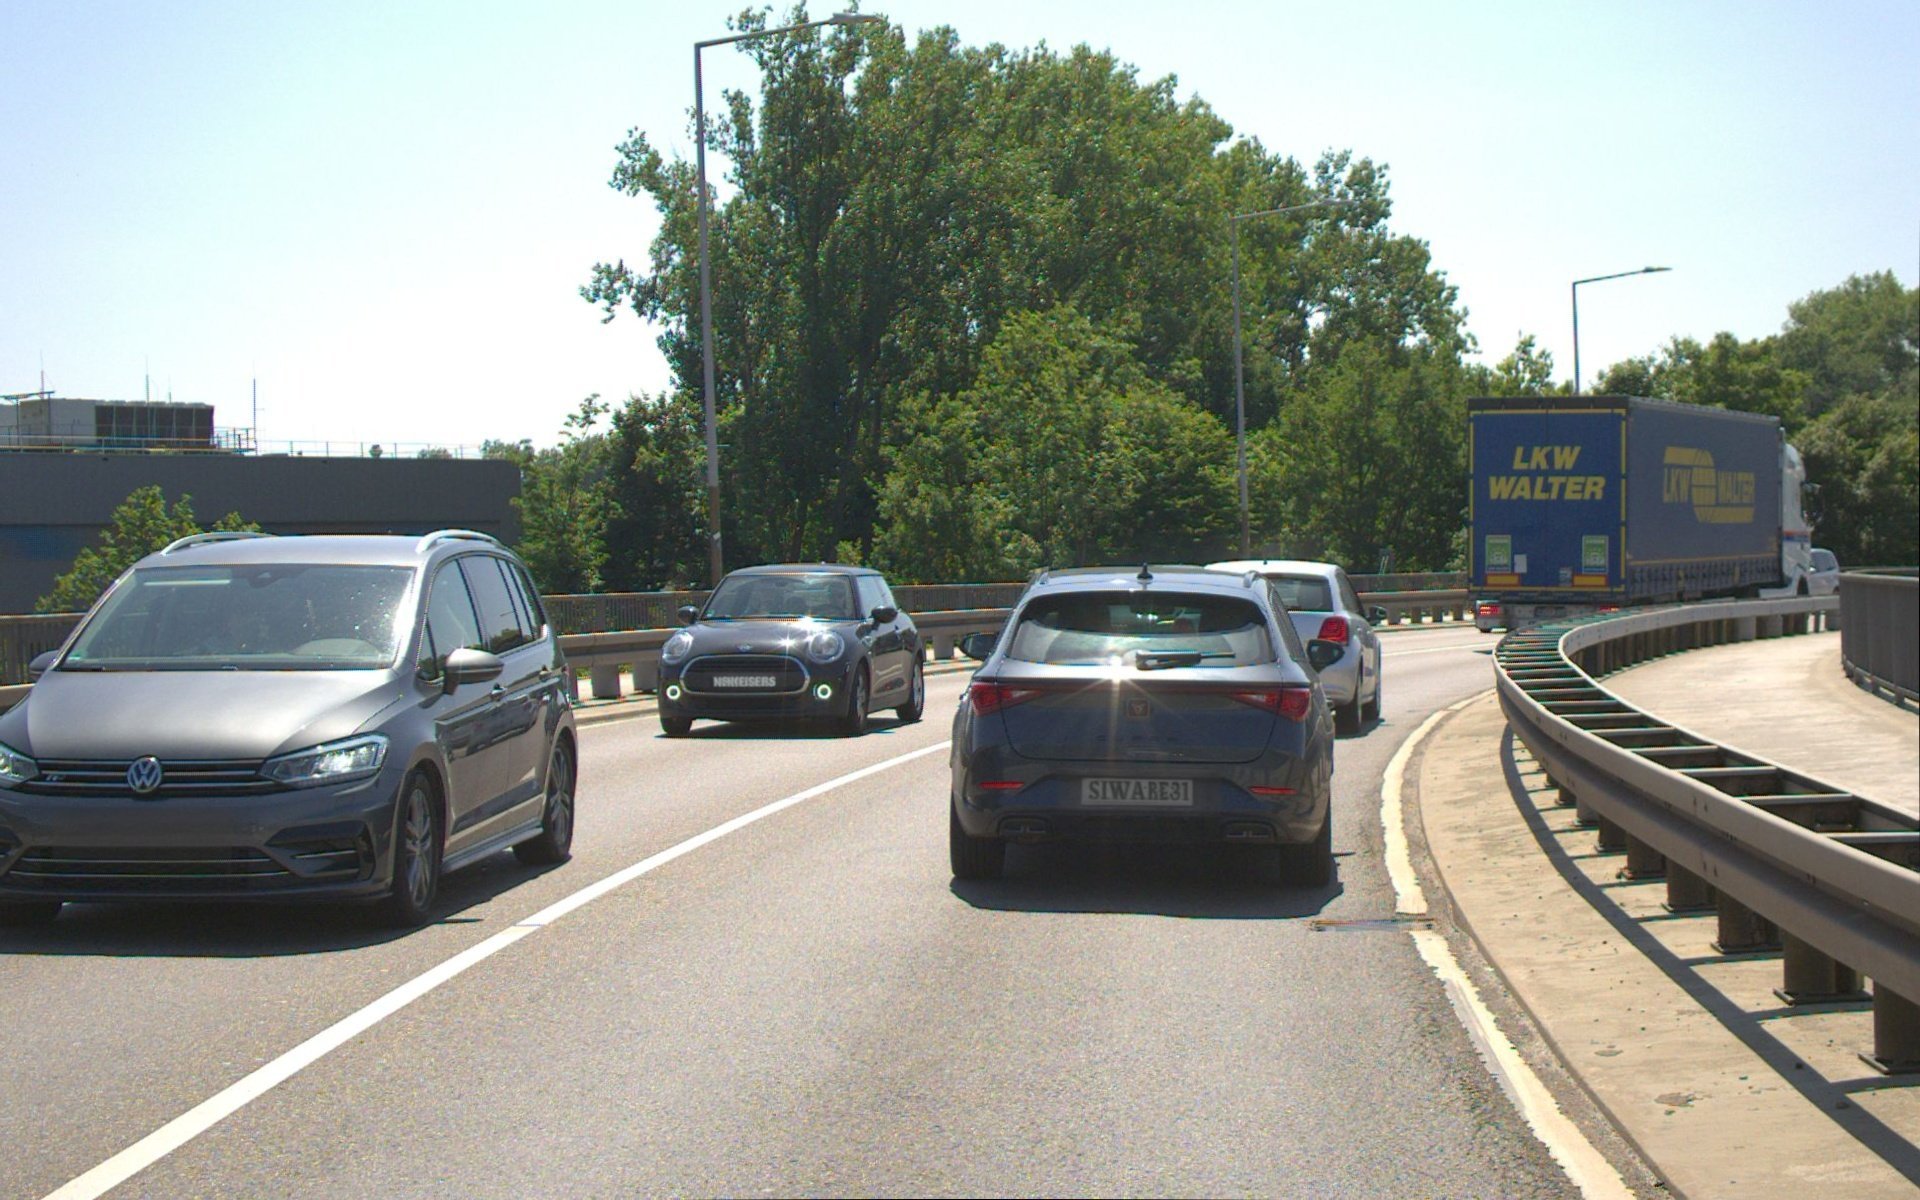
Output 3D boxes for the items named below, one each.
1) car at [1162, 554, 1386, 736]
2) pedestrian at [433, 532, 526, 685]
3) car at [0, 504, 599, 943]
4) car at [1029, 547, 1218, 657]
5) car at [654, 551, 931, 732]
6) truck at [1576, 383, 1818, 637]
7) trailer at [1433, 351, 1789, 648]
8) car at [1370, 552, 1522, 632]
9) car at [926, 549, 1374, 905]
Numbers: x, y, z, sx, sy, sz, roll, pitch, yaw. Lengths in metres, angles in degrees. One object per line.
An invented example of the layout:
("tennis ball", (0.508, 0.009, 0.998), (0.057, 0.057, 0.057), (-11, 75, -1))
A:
("car", (2.780, 0.348, 29.892), (1.594, 1.456, 3.543), (1, 1, 11))
("pedestrian", (-5.007, 0.085, 35.834), (0.715, 1.556, 0.694), (-2, 0, 12))
("car", (-2.910, 0.476, 15.170), (1.896, 1.649, 4.257), (-1, 0, 4))
("car", (2.313, 0.020, 47.494), (1.790, 1.410, 4.572), (-1, 0, 13))
("car", (-1.371, 0.326, 29.649), (1.789, 1.414, 3.772), (-2, 0, 6))
("truck", (14.211, -1.651, 65.825), (3.174, 4.569, 7.388), (1, 0, 23))
("trailer", (11.610, -1.625, 59.851), (3.138, 4.598, 12.931), (1, 1, 24))
("car", (9.517, -0.171, 67.157), (1.727, 1.478, 3.860), (-1, 0, 27))
("car", (0.794, 0.514, 16.564), (1.845, 1.493, 3.758), (0, 1, -2))
